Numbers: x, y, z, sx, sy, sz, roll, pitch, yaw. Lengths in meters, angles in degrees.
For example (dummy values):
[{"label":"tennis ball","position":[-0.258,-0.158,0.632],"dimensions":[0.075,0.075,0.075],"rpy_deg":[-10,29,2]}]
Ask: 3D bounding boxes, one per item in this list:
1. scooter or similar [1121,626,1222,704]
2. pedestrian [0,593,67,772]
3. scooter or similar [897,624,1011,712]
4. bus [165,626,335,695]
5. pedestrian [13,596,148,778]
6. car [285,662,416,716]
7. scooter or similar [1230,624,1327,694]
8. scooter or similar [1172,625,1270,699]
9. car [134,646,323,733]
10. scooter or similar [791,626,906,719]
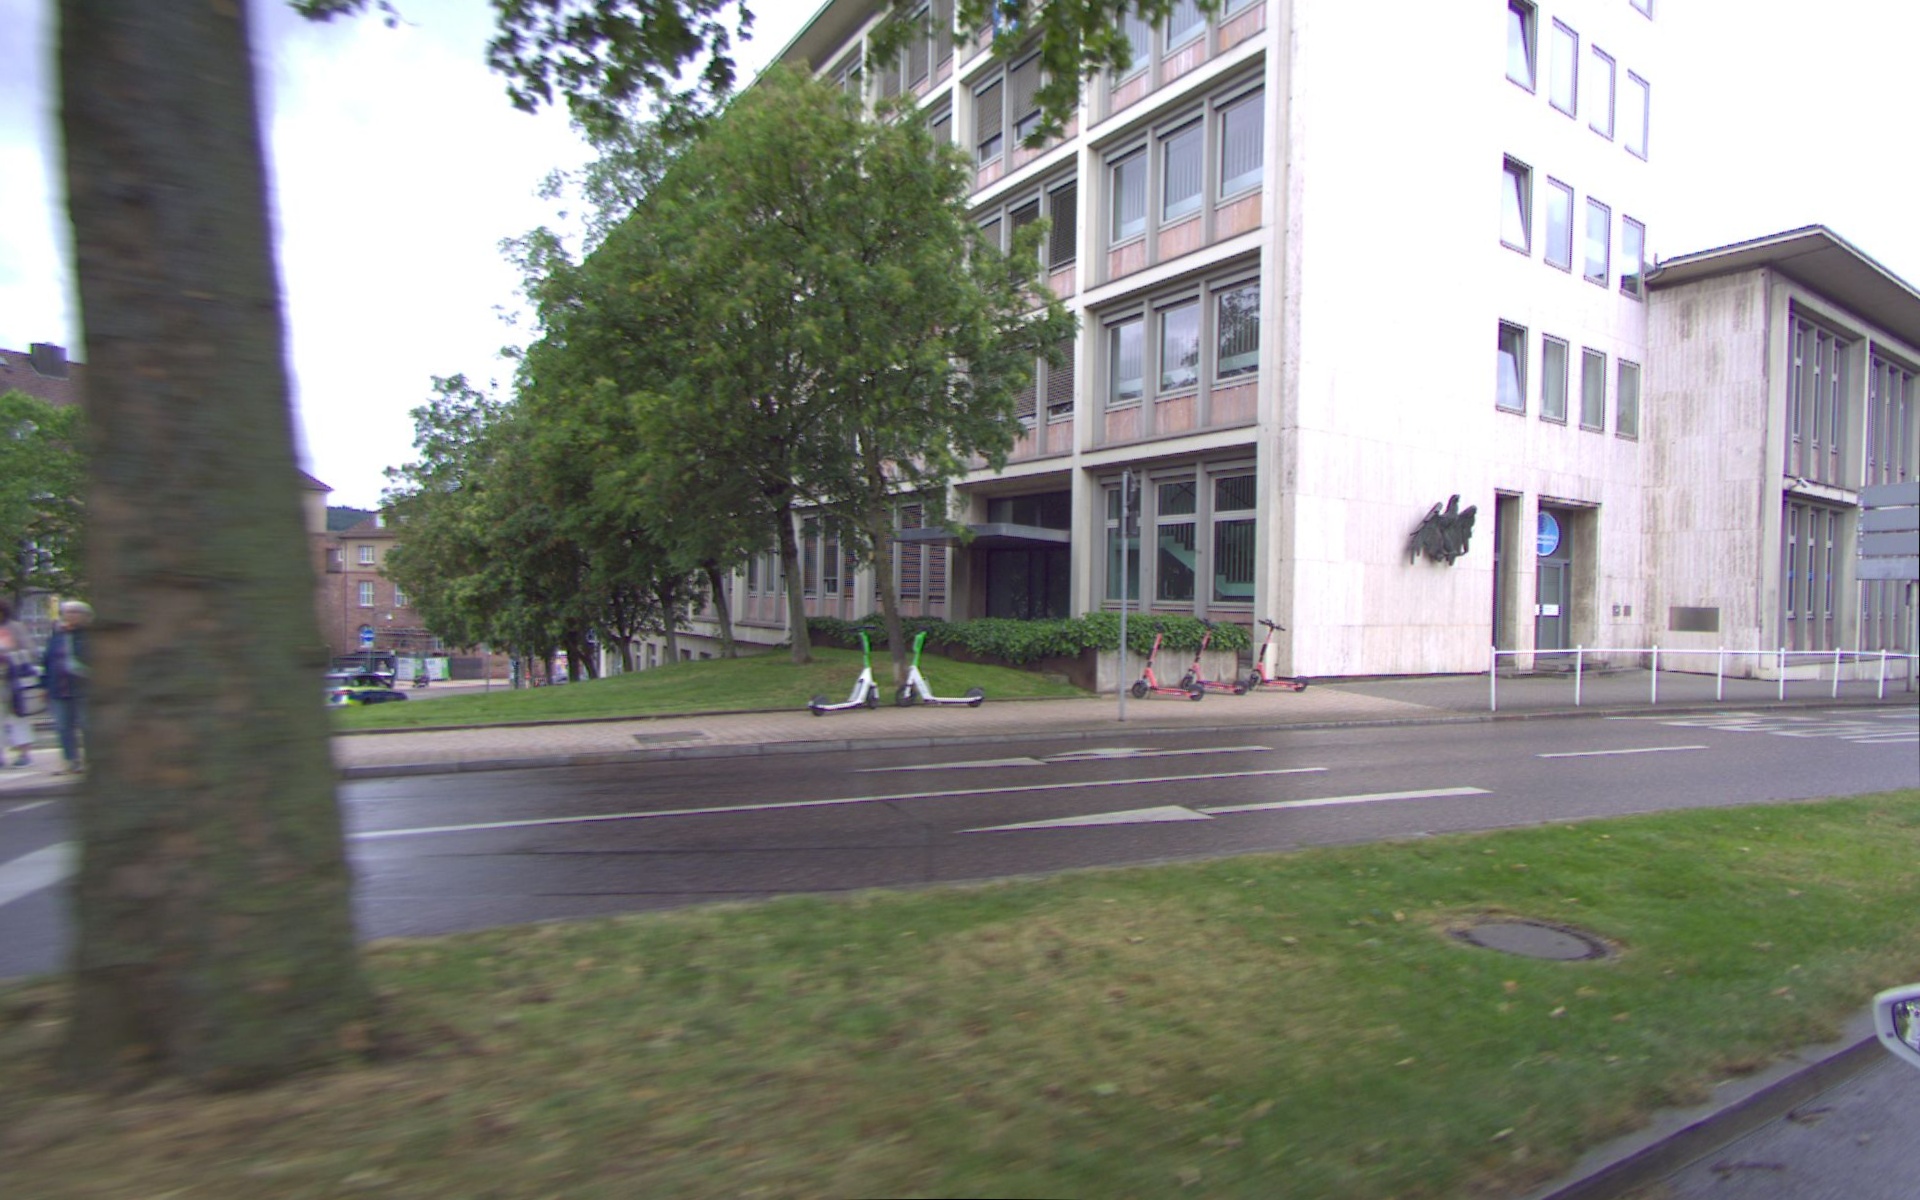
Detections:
[{"label":"scooter or similar","position":[3.372,1.029,16.101],"dimensions":[1.497,1.208,0.609],"rpy_deg":[0,-1,3]},{"label":"pedestrian","position":[-9.492,0.803,10.029],"dimensions":[0.790,1.733,0.648],"rpy_deg":[1,-1,-38]},{"label":"scooter or similar","position":[-0.078,0.954,14.435],"dimensions":[1.554,1.208,0.567],"rpy_deg":[1,-1,-27]},{"label":"bus","position":[-37.910,3.063,54.371],"dimensions":[2.838,3.237,11.949],"rpy_deg":[1,-1,-11]},{"label":"pedestrian","position":[-8.313,0.784,9.515],"dimensions":[0.918,1.624,0.647],"rpy_deg":[1,-1,-42]},{"label":"car","position":[-19.329,2.784,32.107],"dimensions":[1.964,1.438,4.582],"rpy_deg":[1,-2,-9]},{"label":"scooter or similar","position":[5.549,1.010,17.551],"dimensions":[1.497,1.180,0.609],"rpy_deg":[0,-1,3]},{"label":"scooter or similar","position":[4.389,1.028,16.946],"dimensions":[1.497,1.208,0.609],"rpy_deg":[0,-1,3]},{"label":"car","position":[-18.422,2.196,25.612],"dimensions":[1.964,1.990,4.583],"rpy_deg":[1,-3,-9]},{"label":"scooter or similar","position":[-1.491,0.949,13.561],"dimensions":[1.487,1.183,0.485],"rpy_deg":[1,-1,-35]}]
